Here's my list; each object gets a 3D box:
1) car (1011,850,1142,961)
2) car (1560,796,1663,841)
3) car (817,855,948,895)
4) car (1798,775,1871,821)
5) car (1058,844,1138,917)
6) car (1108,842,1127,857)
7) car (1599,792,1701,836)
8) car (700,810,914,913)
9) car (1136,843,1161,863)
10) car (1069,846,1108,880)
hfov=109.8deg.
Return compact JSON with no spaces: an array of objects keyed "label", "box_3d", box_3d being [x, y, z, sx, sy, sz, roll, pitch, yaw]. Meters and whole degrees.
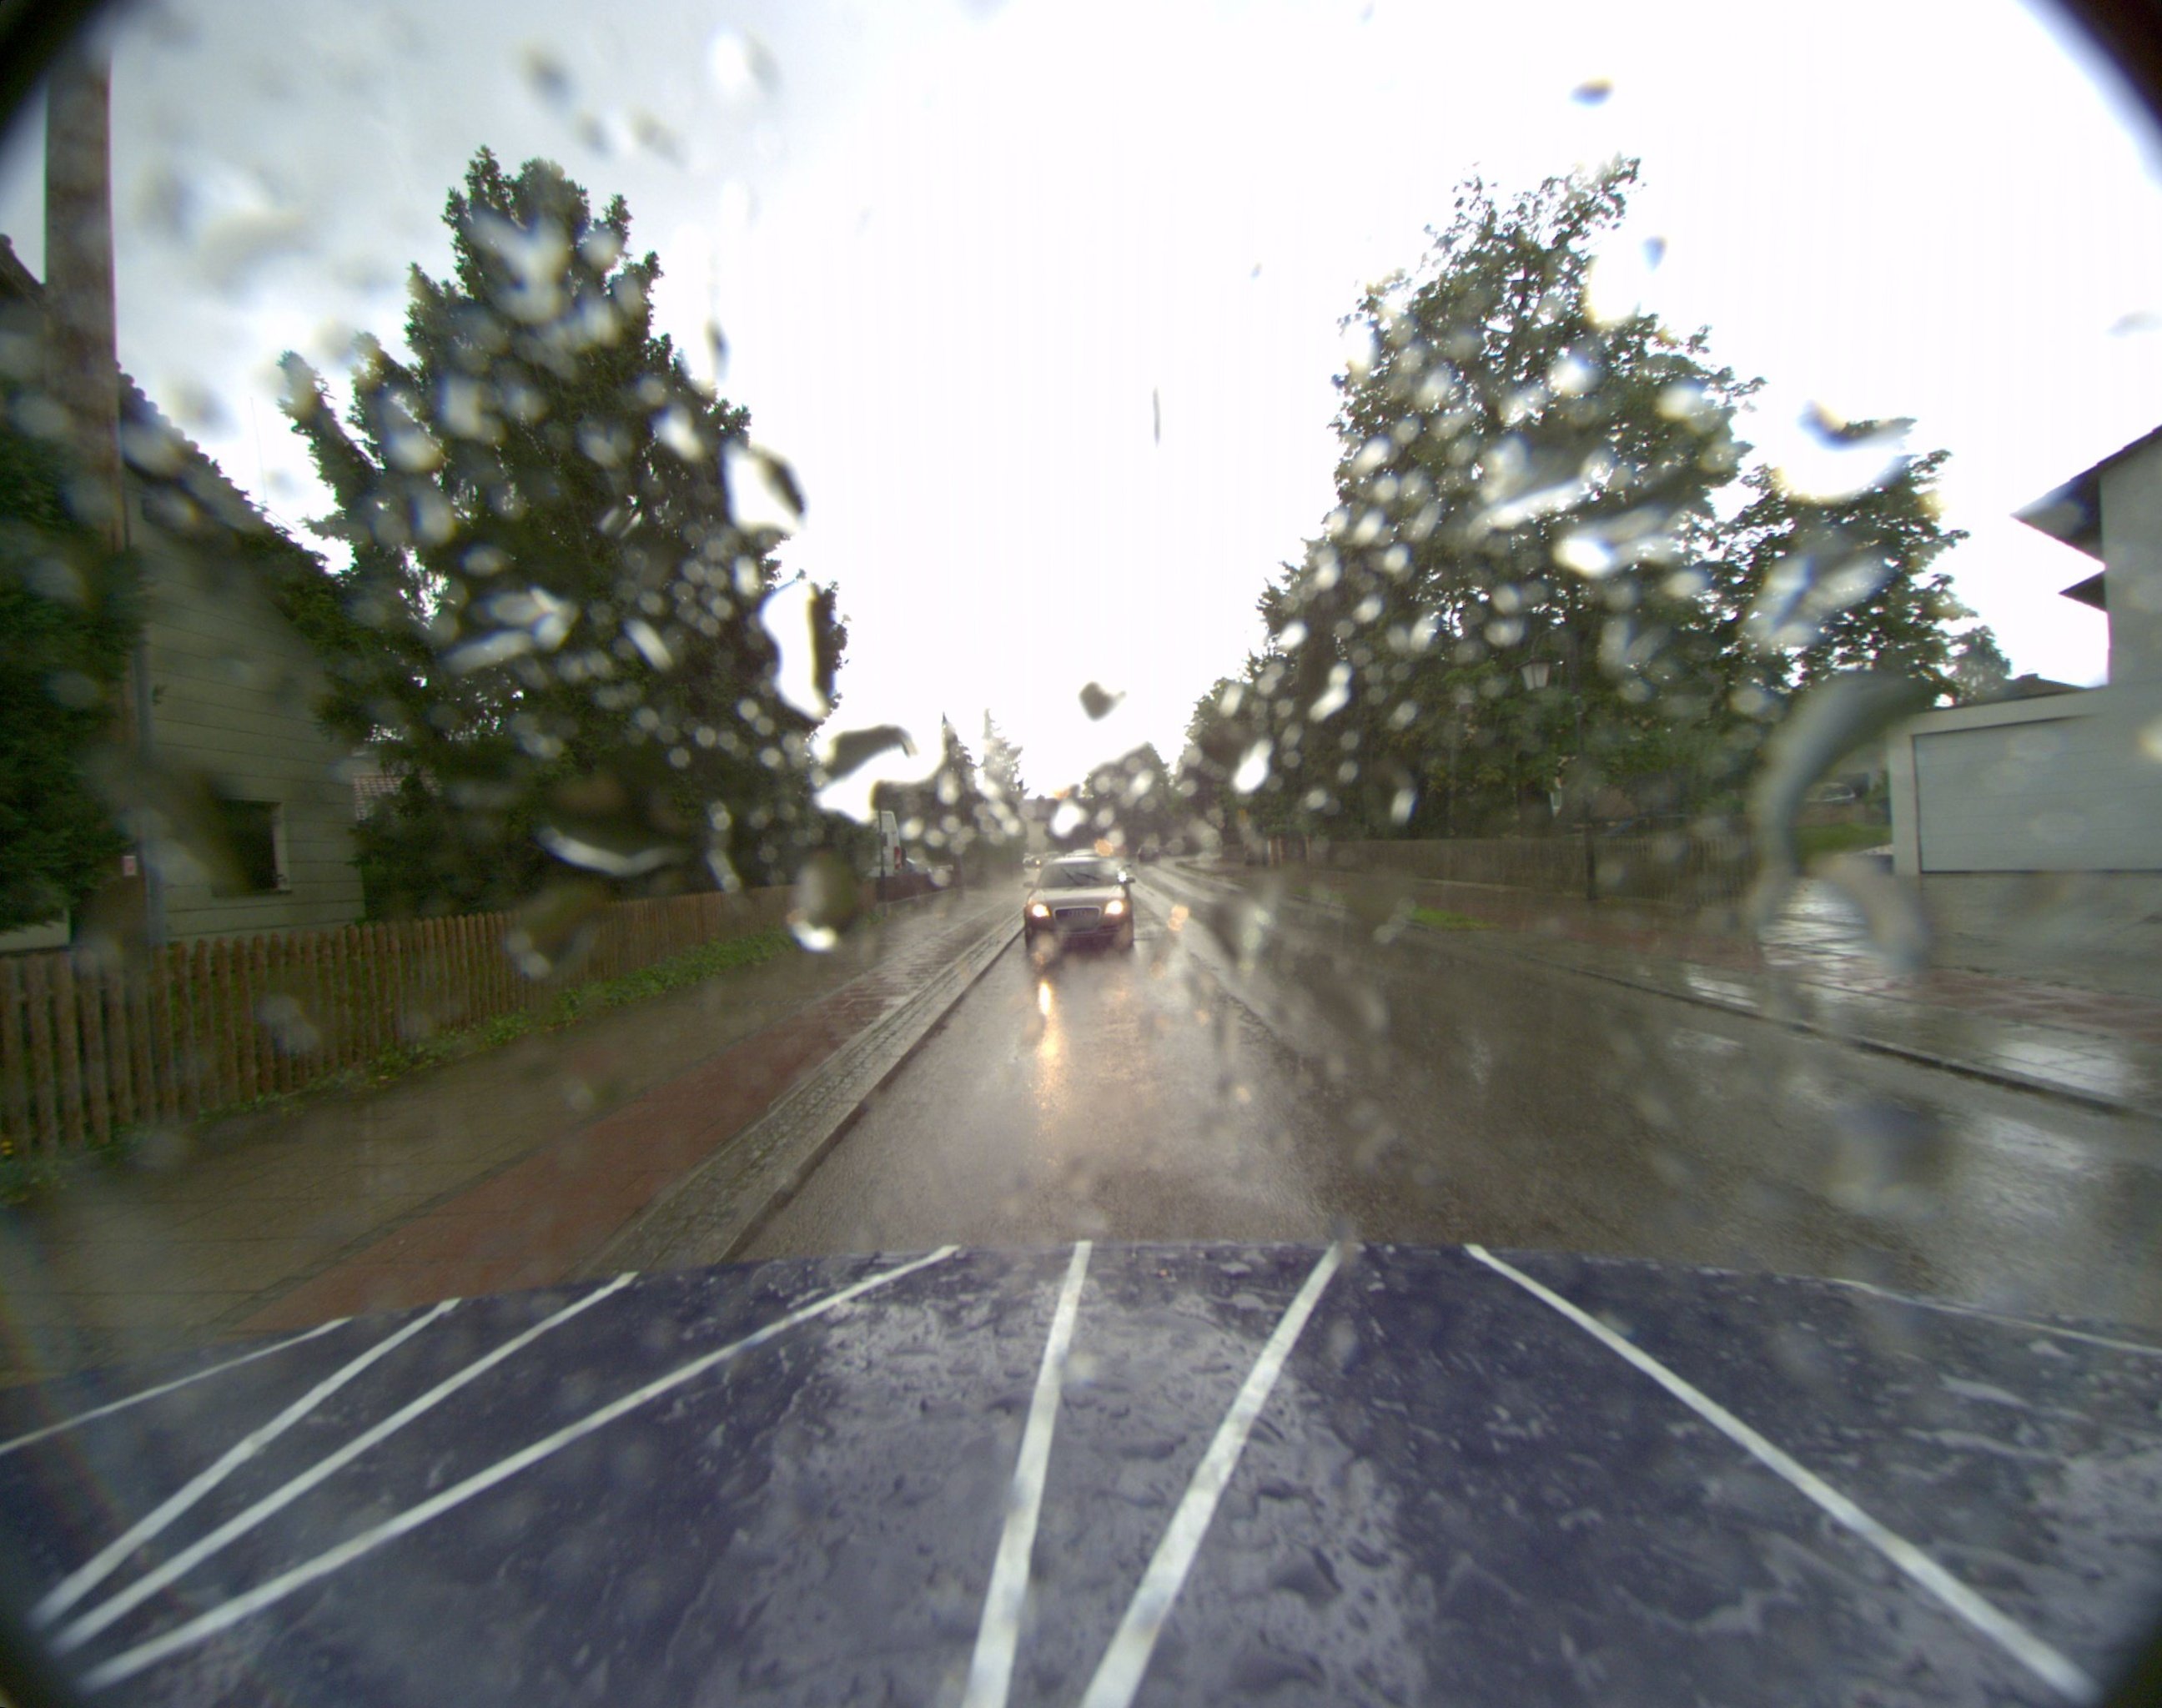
[{"label":"car","box_3d":[-0.028,0.756,13.313,1.872,1.512,4.188,-3,1,1]},{"label":"car","box_3d":[26.133,-1.726,37.536,1.845,1.792,3.649,-6,0,-33]},{"label":"car","box_3d":[-7.233,0.736,28.037,4.443,1.413,1.829,0,1,-7]},{"label":"car","box_3d":[40.922,-3.021,41.240,3.857,2.281,1.782,-3,1,-29]},{"label":"car","box_3d":[0.463,0.640,21.488,1.872,1.603,4.960,-5,2,1]},{"label":"car","box_3d":[3.895,-0.513,81.399,1.785,1.457,4.374,-4,1,0]},{"label":"car","box_3d":[28.921,-1.992,38.714,1.845,1.792,3.649,-6,0,-33]},{"label":"car","box_3d":[-7.511,0.184,21.345,5.321,2.712,1.998,0,1,-8]},{"label":"car","box_3d":[5.441,-0.088,61.430,1.642,1.512,4.188,-4,0,1]},{"label":"car","box_3d":[0.423,0.435,40.763,1.872,1.512,4.960,-5,1,1]}]
